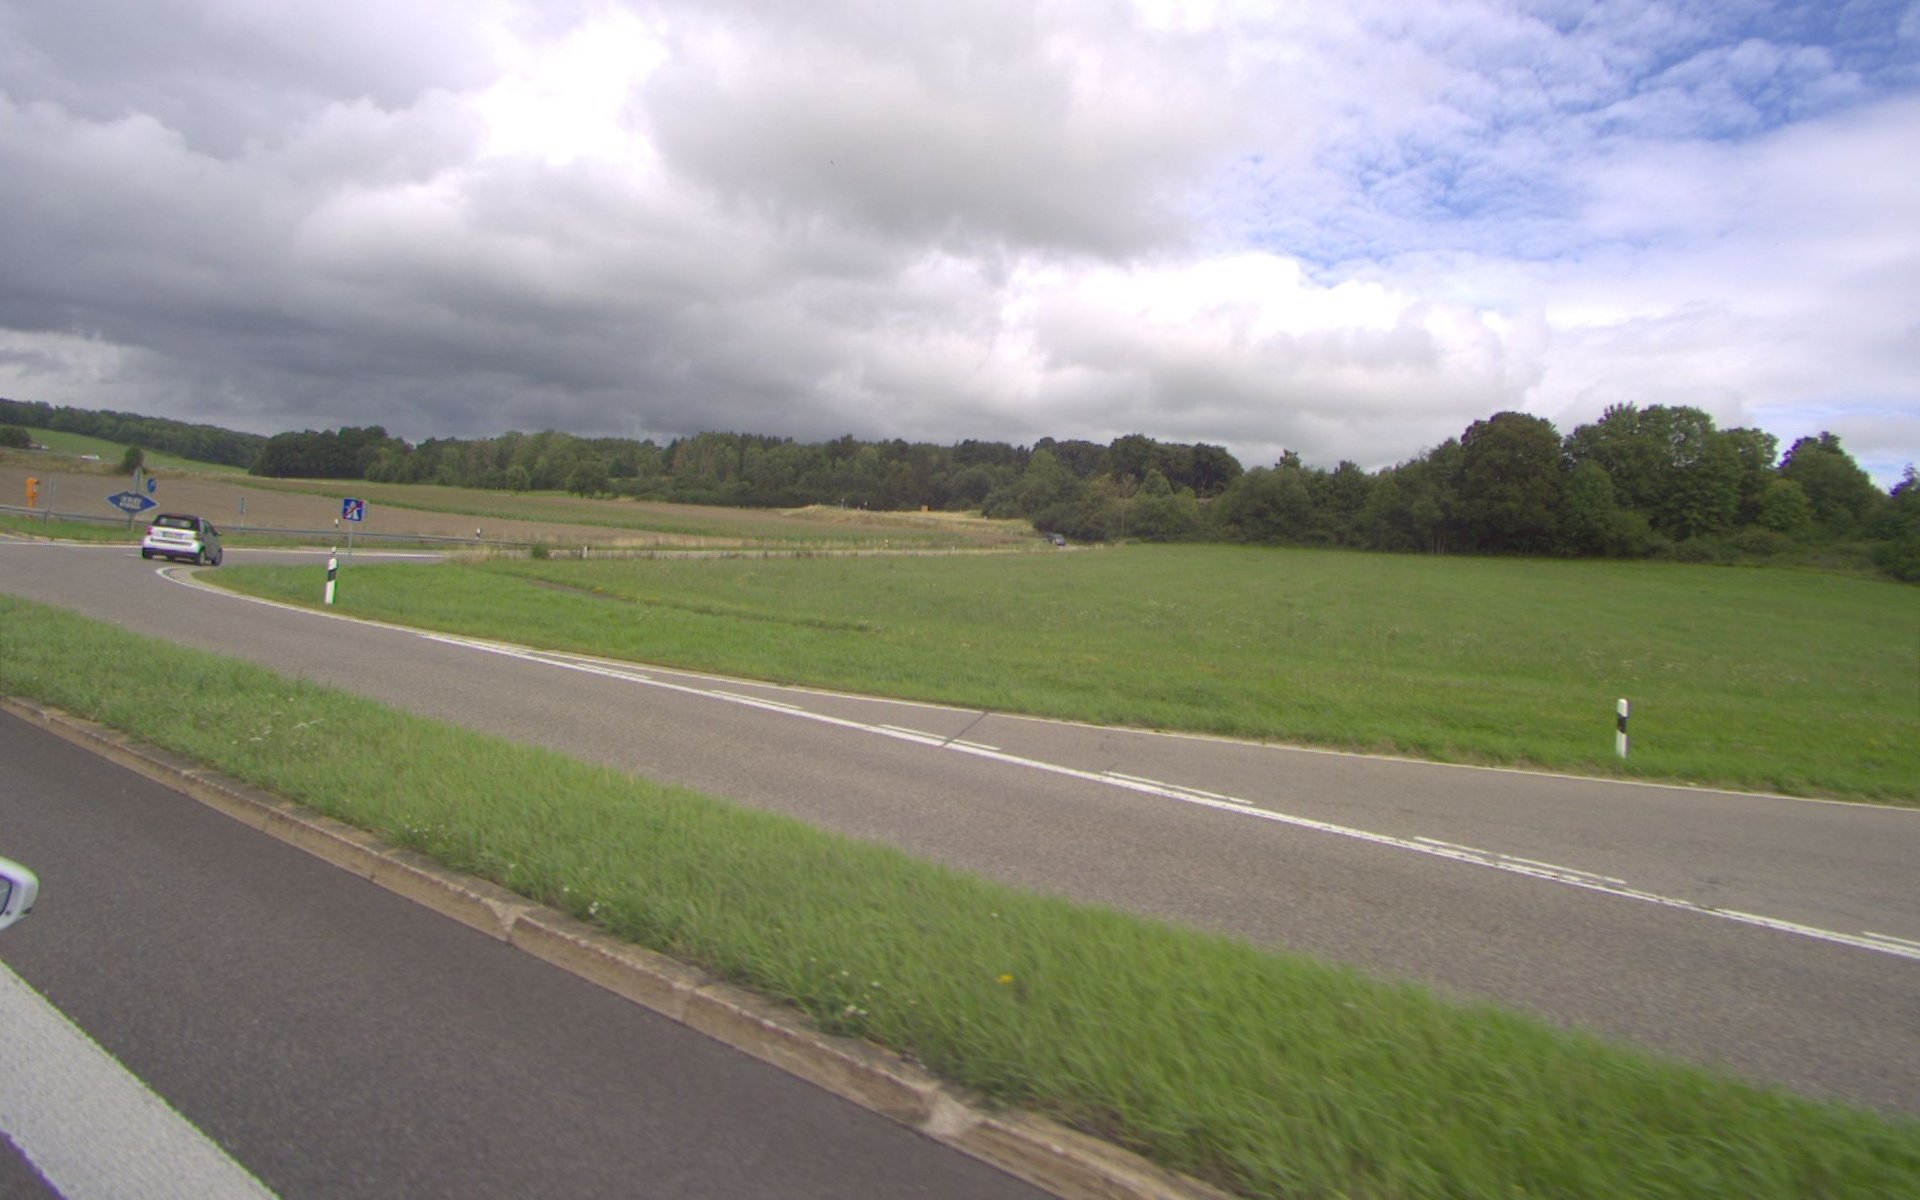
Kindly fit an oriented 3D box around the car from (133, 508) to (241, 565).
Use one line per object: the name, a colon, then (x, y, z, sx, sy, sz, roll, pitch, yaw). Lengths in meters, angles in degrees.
car: (-25.894, -2.097, 33.847, 1.759, 1.571, 3.978, 7, 1, -22)
